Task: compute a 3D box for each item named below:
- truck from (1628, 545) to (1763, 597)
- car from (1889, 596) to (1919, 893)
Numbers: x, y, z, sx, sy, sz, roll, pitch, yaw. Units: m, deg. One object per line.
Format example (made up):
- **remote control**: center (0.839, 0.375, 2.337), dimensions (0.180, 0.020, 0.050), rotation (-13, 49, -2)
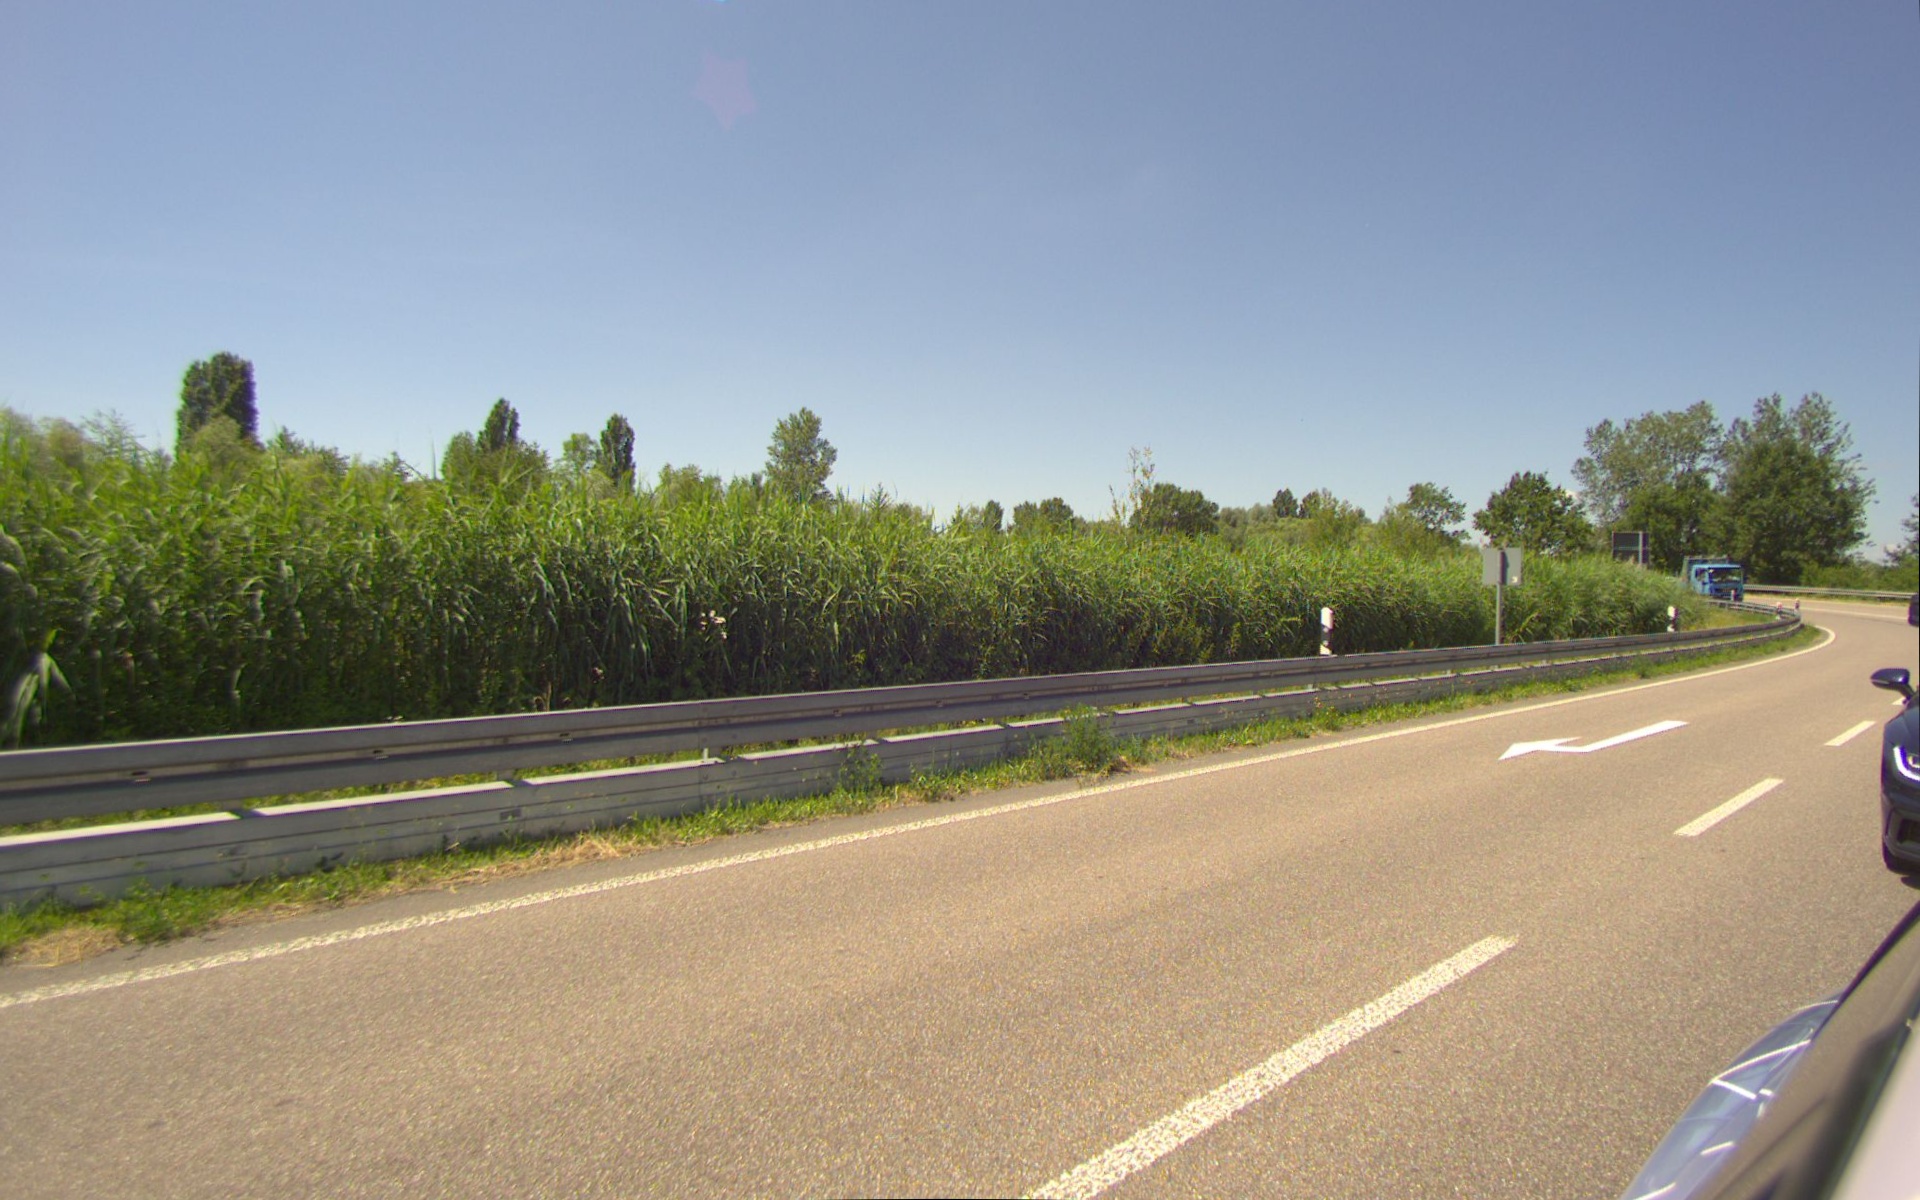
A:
- **truck**: center (47.258, -1.841, 65.441), dimensions (2.531, 3.108, 9.072), rotation (0, 1, 4)
- **car**: center (6.610, 0.688, 5.609), dimensions (3.931, 1.427, 1.759), rotation (-1, 1, -41)
